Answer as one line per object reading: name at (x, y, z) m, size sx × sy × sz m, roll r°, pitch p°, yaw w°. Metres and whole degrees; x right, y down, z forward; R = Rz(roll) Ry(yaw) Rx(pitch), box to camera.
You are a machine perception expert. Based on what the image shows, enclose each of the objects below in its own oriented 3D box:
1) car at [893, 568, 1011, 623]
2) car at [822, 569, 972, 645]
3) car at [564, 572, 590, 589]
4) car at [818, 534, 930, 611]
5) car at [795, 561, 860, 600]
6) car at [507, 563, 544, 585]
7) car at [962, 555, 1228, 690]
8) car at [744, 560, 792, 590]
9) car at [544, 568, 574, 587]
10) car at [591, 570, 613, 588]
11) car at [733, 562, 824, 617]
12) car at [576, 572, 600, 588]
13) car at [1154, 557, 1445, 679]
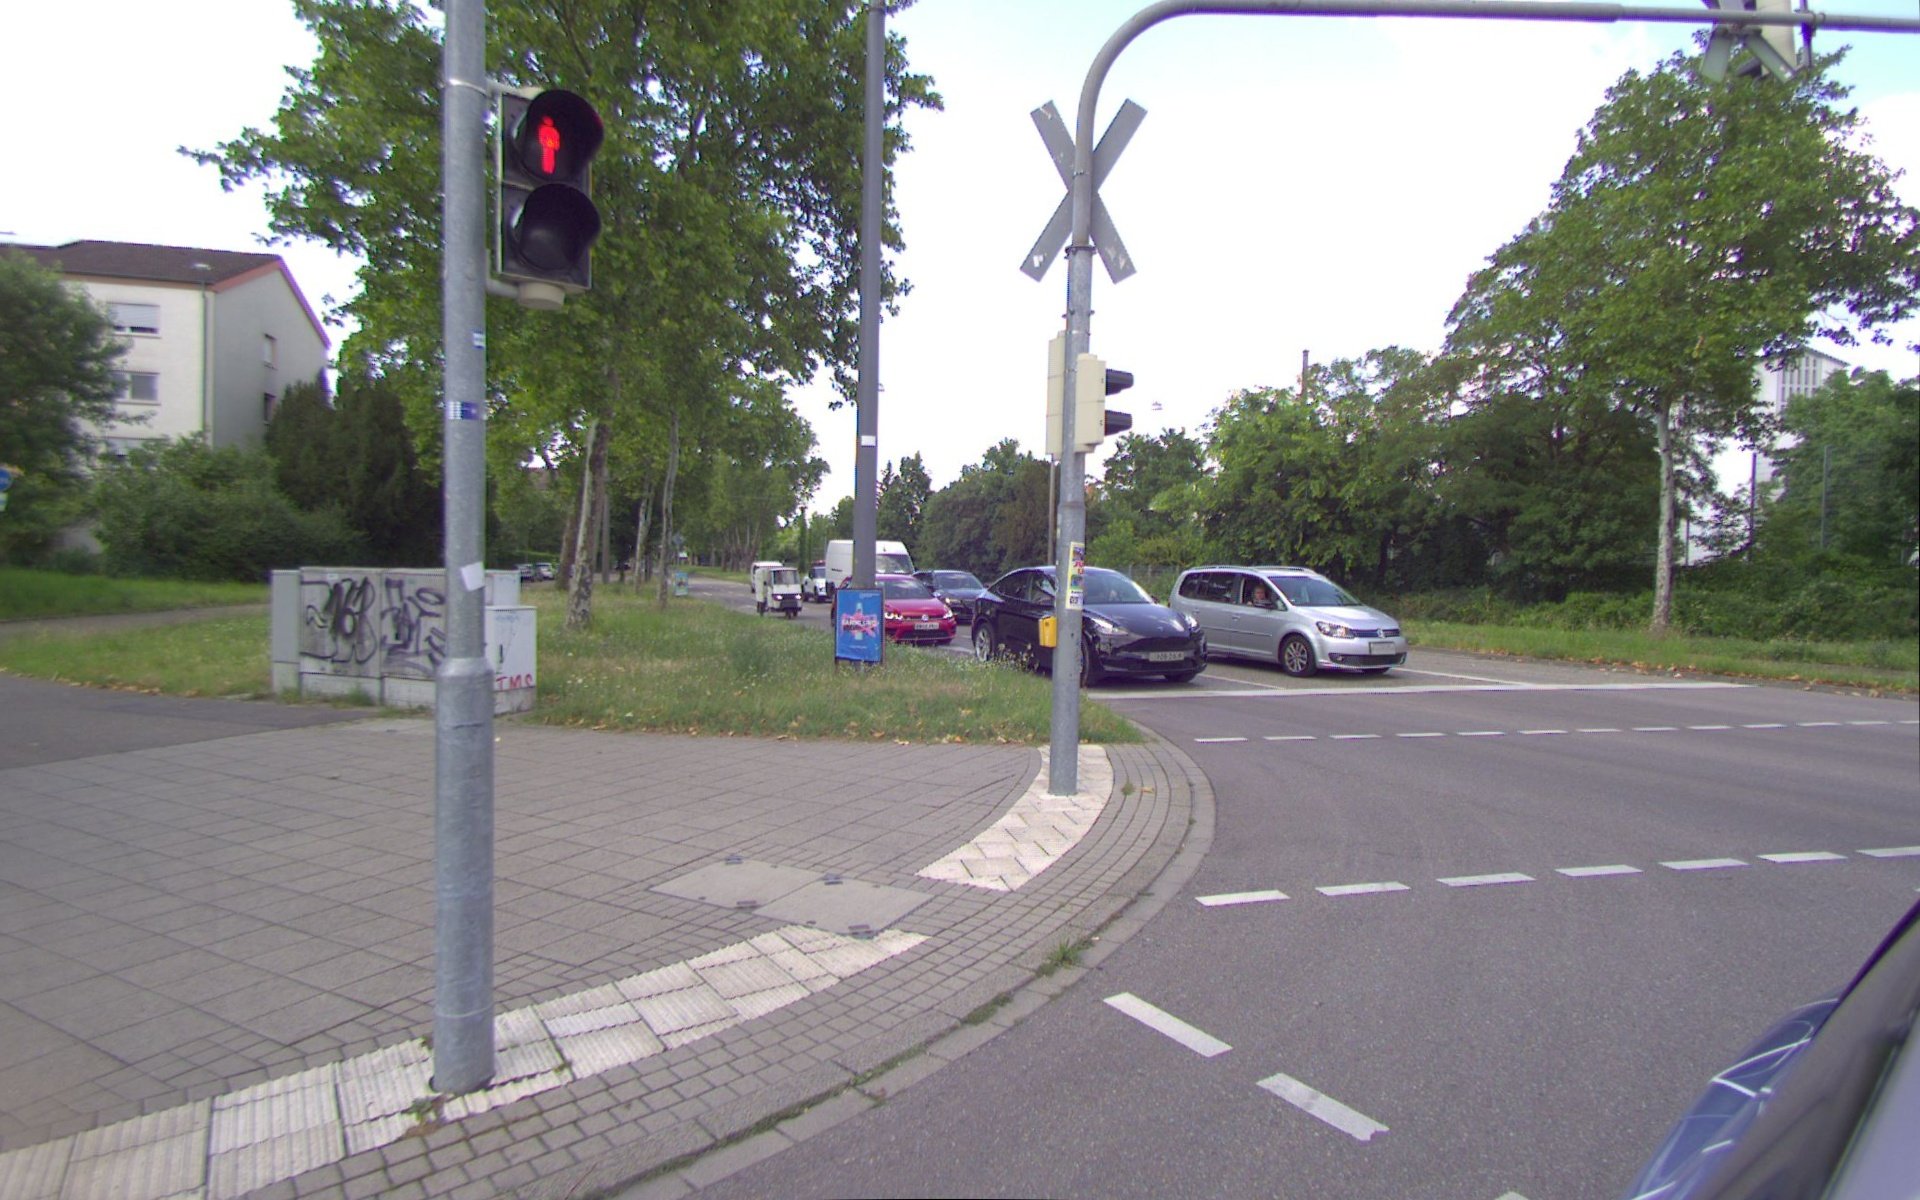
car at (-0.317, -0.183, 28.985) m, size 1.728 × 1.392 × 4.352 m, roll -1°, pitch 3°, yaw -25°
car at (-1.504, 0.069, 22.127) m, size 1.765 × 1.408 × 4.511 m, roll -1°, pitch 3°, yaw -25°
car at (-38.454, -1.962, 101.762) m, size 1.740 × 1.616 × 3.662 m, roll 0°, pitch 0°, yaw -9°
car at (-3.266, -1.055, 36.912) m, size 2.182 × 2.561 × 5.945 m, roll -1°, pitch 3°, yaw -25°
car at (-5.877, -0.894, 44.572) m, size 1.806 × 1.638 × 4.165 m, roll -1°, pitch 2°, yaw -23°
car at (-33.377, -1.970, 77.778) m, size 1.740 × 1.616 × 3.662 m, roll 0°, pitch 0°, yaw -9°
car at (1.799, 0.181, 15.180) m, size 1.892 × 1.672 × 4.590 m, roll -1°, pitch 3°, yaw -23°
car at (-11.225, -1.476, 59.031) m, size 1.728 × 1.667 × 4.352 m, roll 0°, pitch 2°, yaw -25°
car at (-36.053, -1.965, 90.977) m, size 1.740 × 1.616 × 3.662 m, roll 0°, pitch 0°, yaw -9°
car at (-42.460, -2.474, 120.122) m, size 1.740 × 1.962 × 3.662 m, roll 0°, pitch 0°, yaw -9°
car at (-5.809, -0.394, 32.015) m, size 1.765 × 1.589 × 4.511 m, roll -1°, pitch 3°, yaw -25°
car at (-40.203, -2.126, 109.477) m, size 1.740 × 1.616 × 3.662 m, roll 0°, pitch 0°, yaw -9°
car at (5.252, 0.150, 16.358) m, size 1.891 × 1.672 × 4.511 m, roll -1°, pitch 3°, yaw -25°
